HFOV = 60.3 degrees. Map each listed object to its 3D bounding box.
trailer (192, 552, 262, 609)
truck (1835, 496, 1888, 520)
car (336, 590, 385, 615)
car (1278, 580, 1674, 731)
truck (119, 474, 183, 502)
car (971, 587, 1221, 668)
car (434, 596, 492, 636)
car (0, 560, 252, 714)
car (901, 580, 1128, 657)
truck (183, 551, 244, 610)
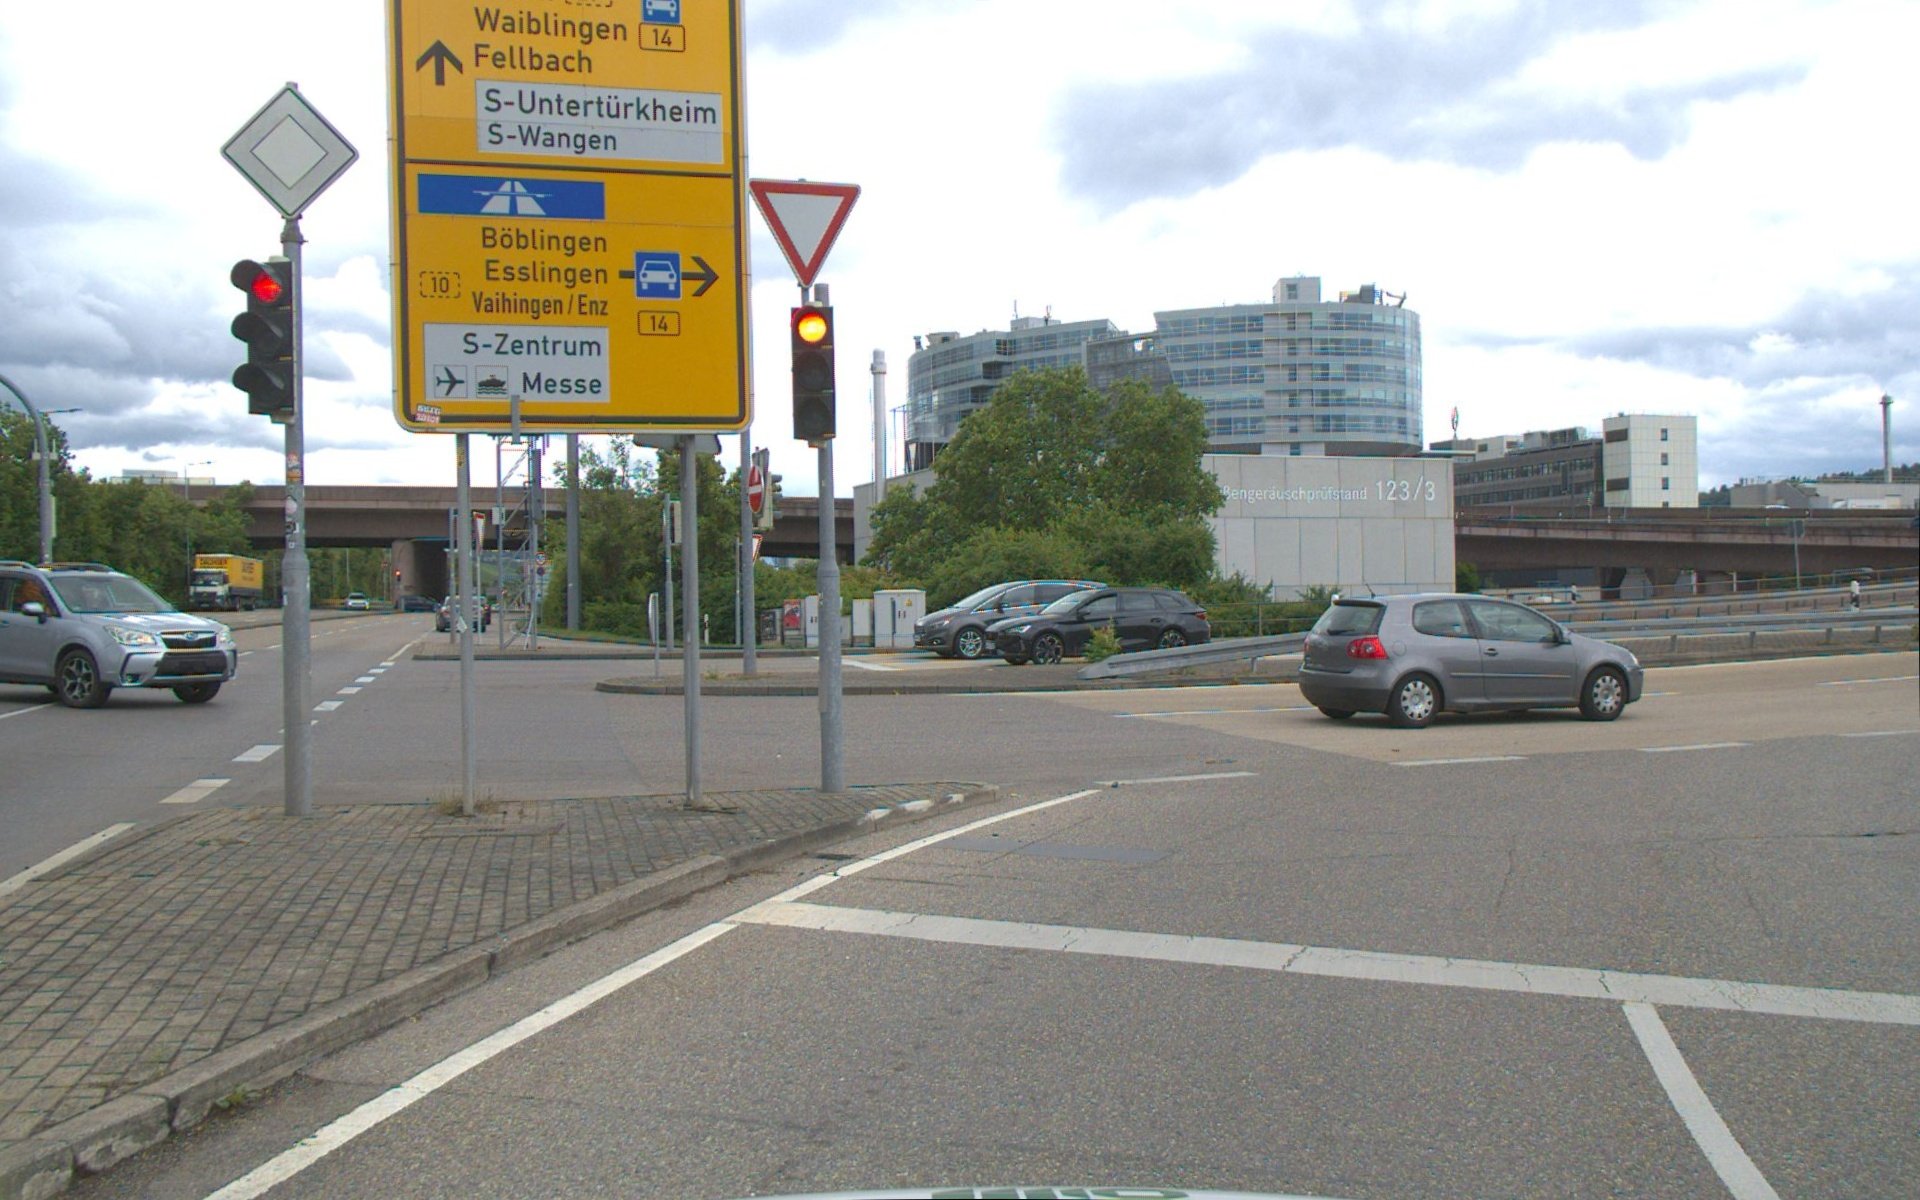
[{"bbox_3d":[-56.587,-1.497,127.990,2.823,4.155,11.387,2,0,-13],"label":"trailer"},{"bbox_3d":[96.450,-9.832,176.909,4.493,2.209,2.001,3,0,2],"label":"truck"},{"bbox_3d":[-53.283,0.220,147.007,3.912,1.892,1.997,3,0,29],"label":"car"},{"bbox_3d":[5.955,0.577,19.141,4.167,1.487,1.720,-2,1,-19],"label":"car"},{"bbox_3d":[-75.188,-10.407,153.716,4.953,2.362,2.001,1,0,5],"label":"truck"},{"bbox_3d":[2.658,0.510,32.524,4.537,1.482,1.945,0,1,-20],"label":"car"},{"bbox_3d":[-19.780,0.662,65.701,1.964,1.467,4.086,1,-2,-20],"label":"car"},{"bbox_3d":[-11.158,0.410,20.789,4.453,1.767,1.728,0,1,28],"label":"car"},{"bbox_3d":[1.176,0.377,36.275,4.606,1.599,1.946,0,1,-18],"label":"car"},{"bbox_3d":[-55.404,-1.451,122.841,2.823,4.155,6.464,2,0,-14],"label":"truck"}]
